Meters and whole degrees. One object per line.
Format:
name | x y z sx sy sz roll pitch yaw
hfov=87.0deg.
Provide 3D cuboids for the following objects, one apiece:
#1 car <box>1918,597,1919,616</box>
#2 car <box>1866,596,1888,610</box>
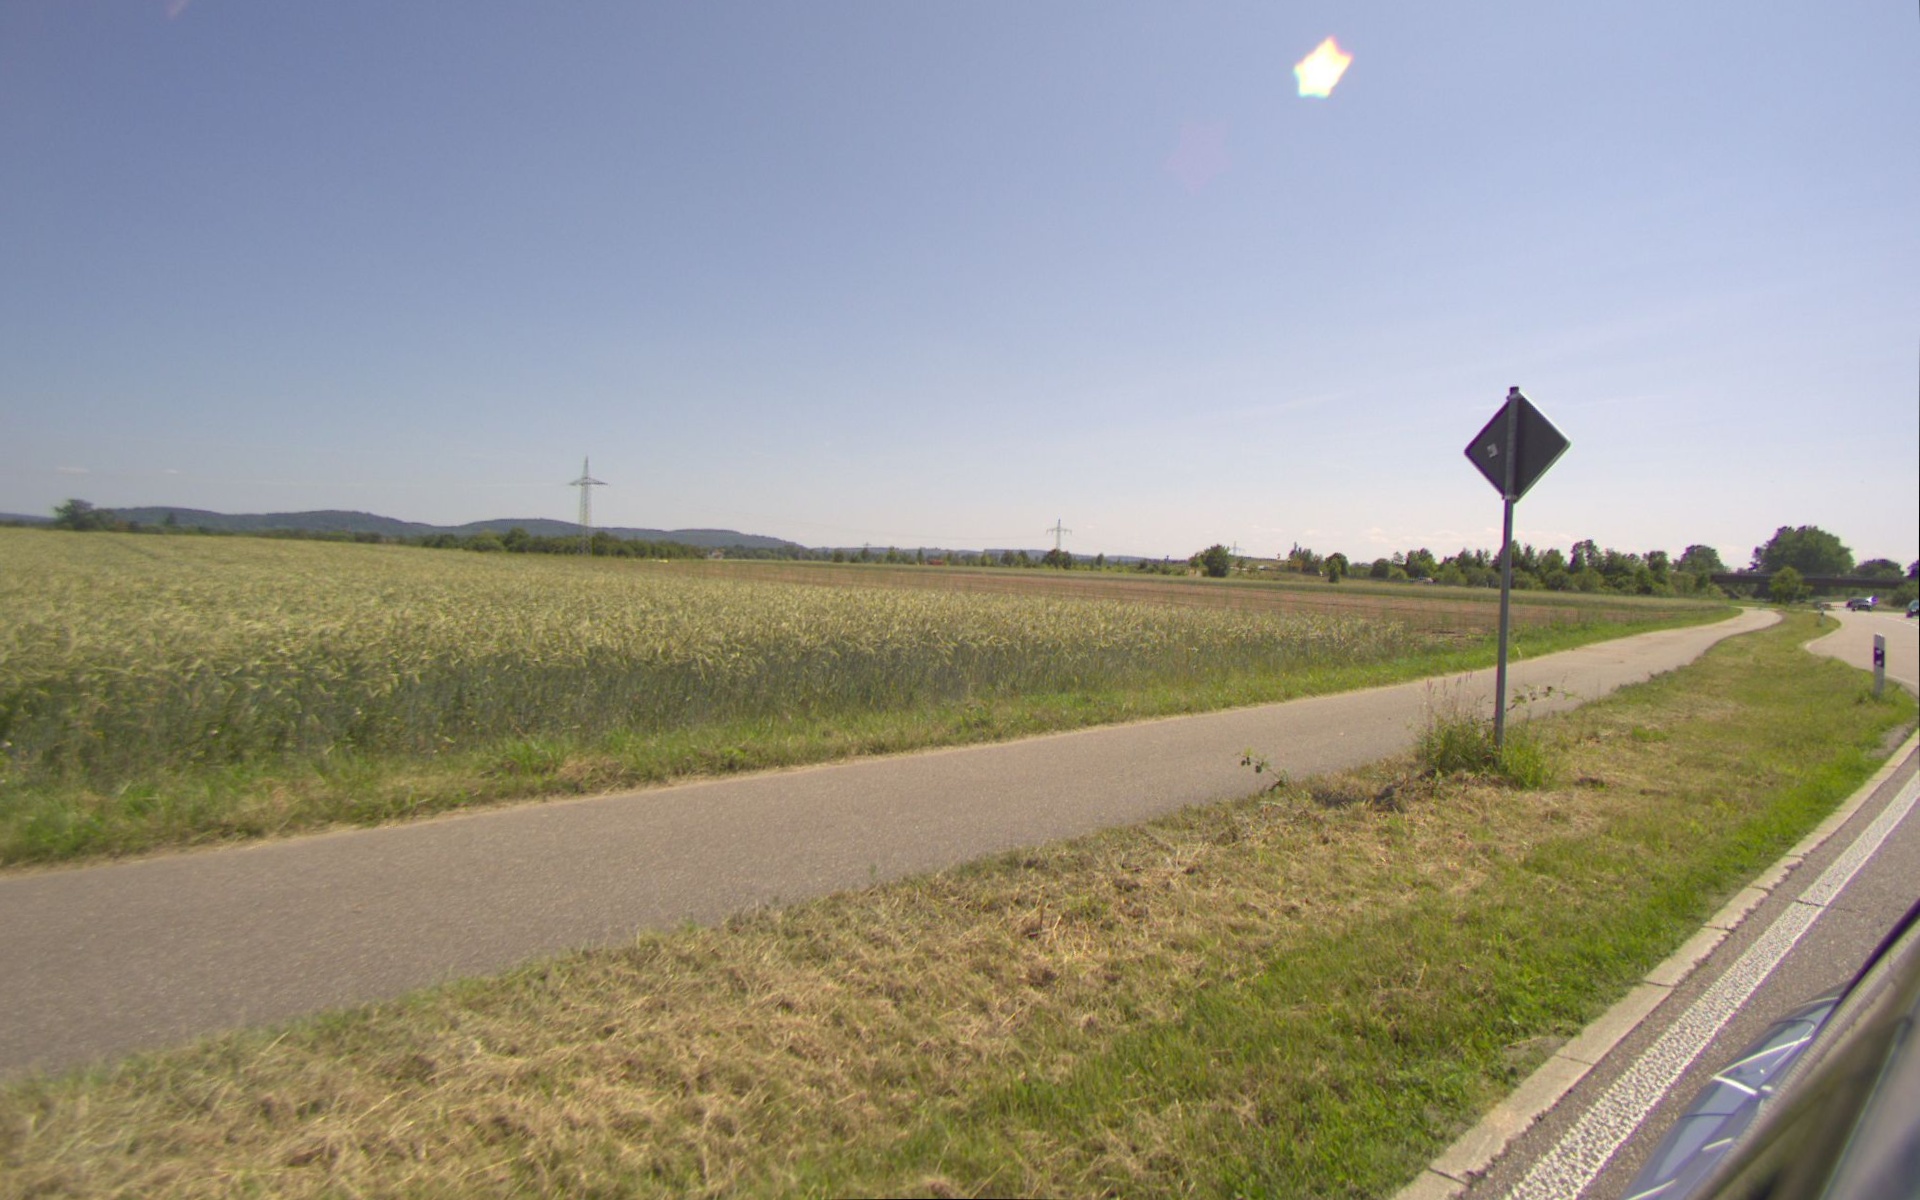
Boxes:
car | 83.465 0.556 86.533 1.976 1.616 5.323 1 1 40
car | 114.512 0.347 126.361 1.978 1.616 5.318 2 1 43
